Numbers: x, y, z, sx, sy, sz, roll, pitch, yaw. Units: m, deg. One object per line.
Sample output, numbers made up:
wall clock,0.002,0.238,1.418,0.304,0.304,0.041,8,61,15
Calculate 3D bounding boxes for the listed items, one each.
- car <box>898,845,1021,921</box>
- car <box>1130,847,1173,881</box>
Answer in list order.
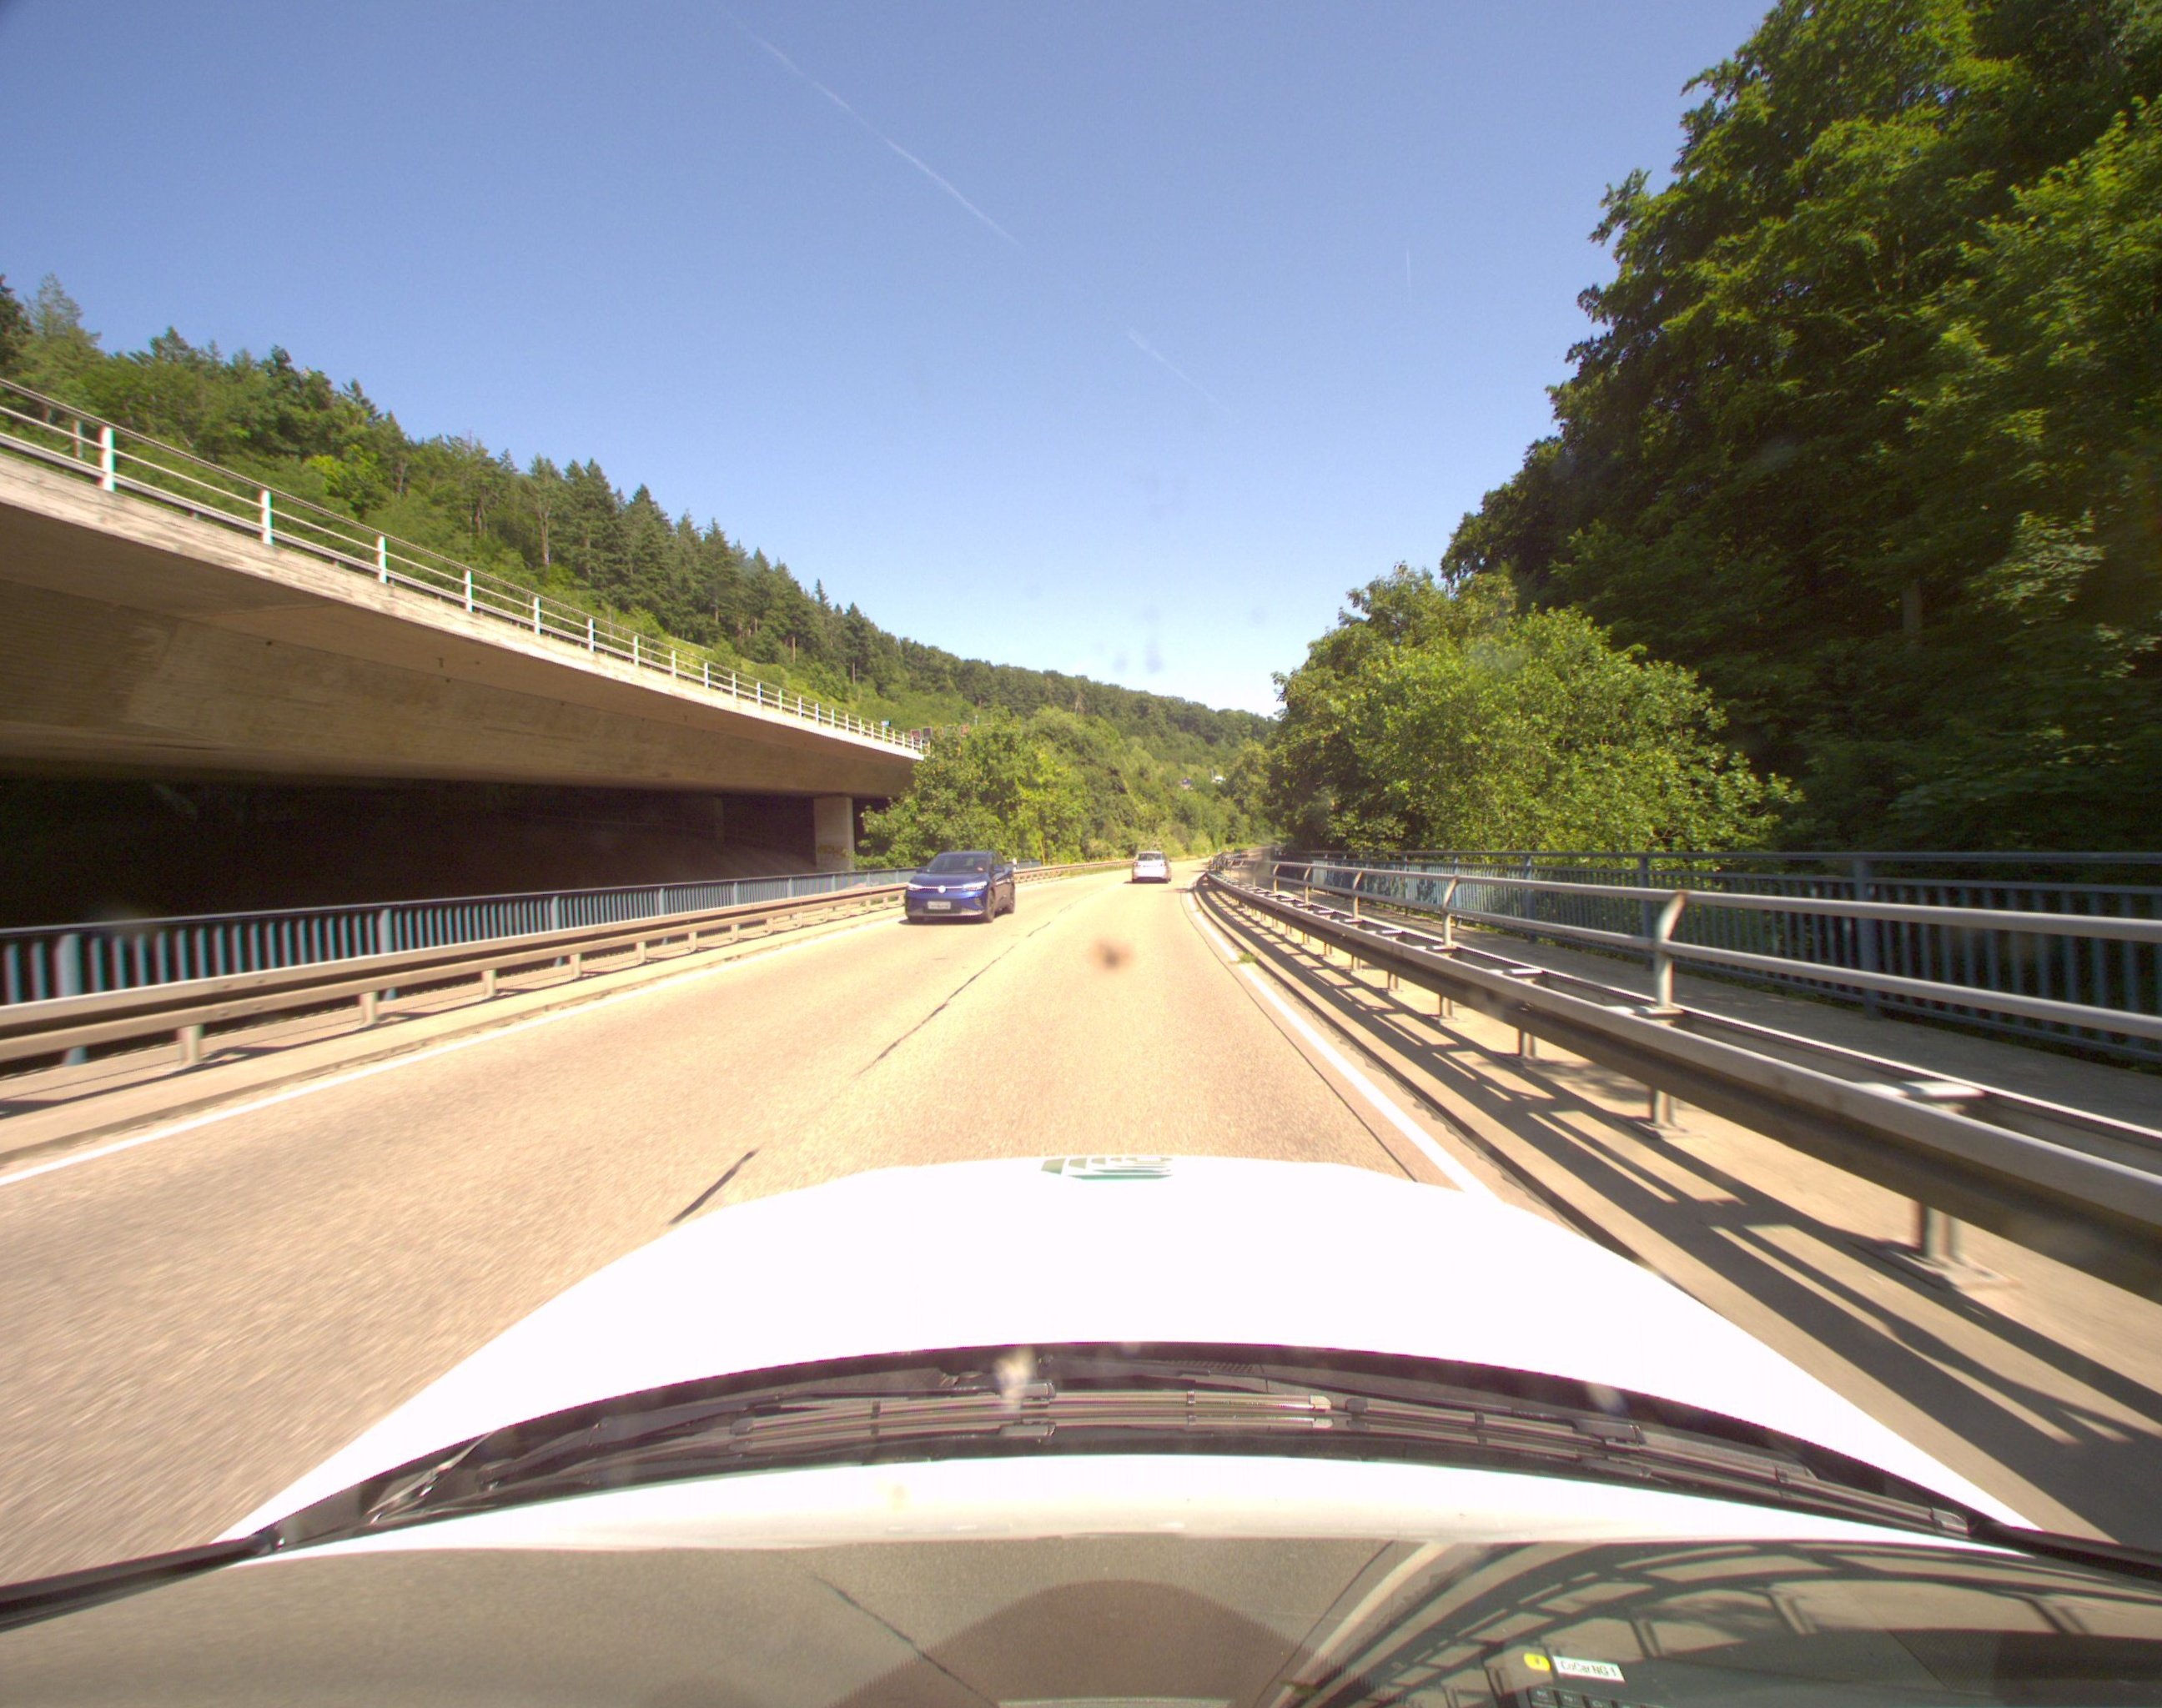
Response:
car,-2.731,0.607,19.419,1.890,1.581,4.560,0,0,4
car,3.497,0.468,39.903,1.740,1.520,4.171,-1,1,10
